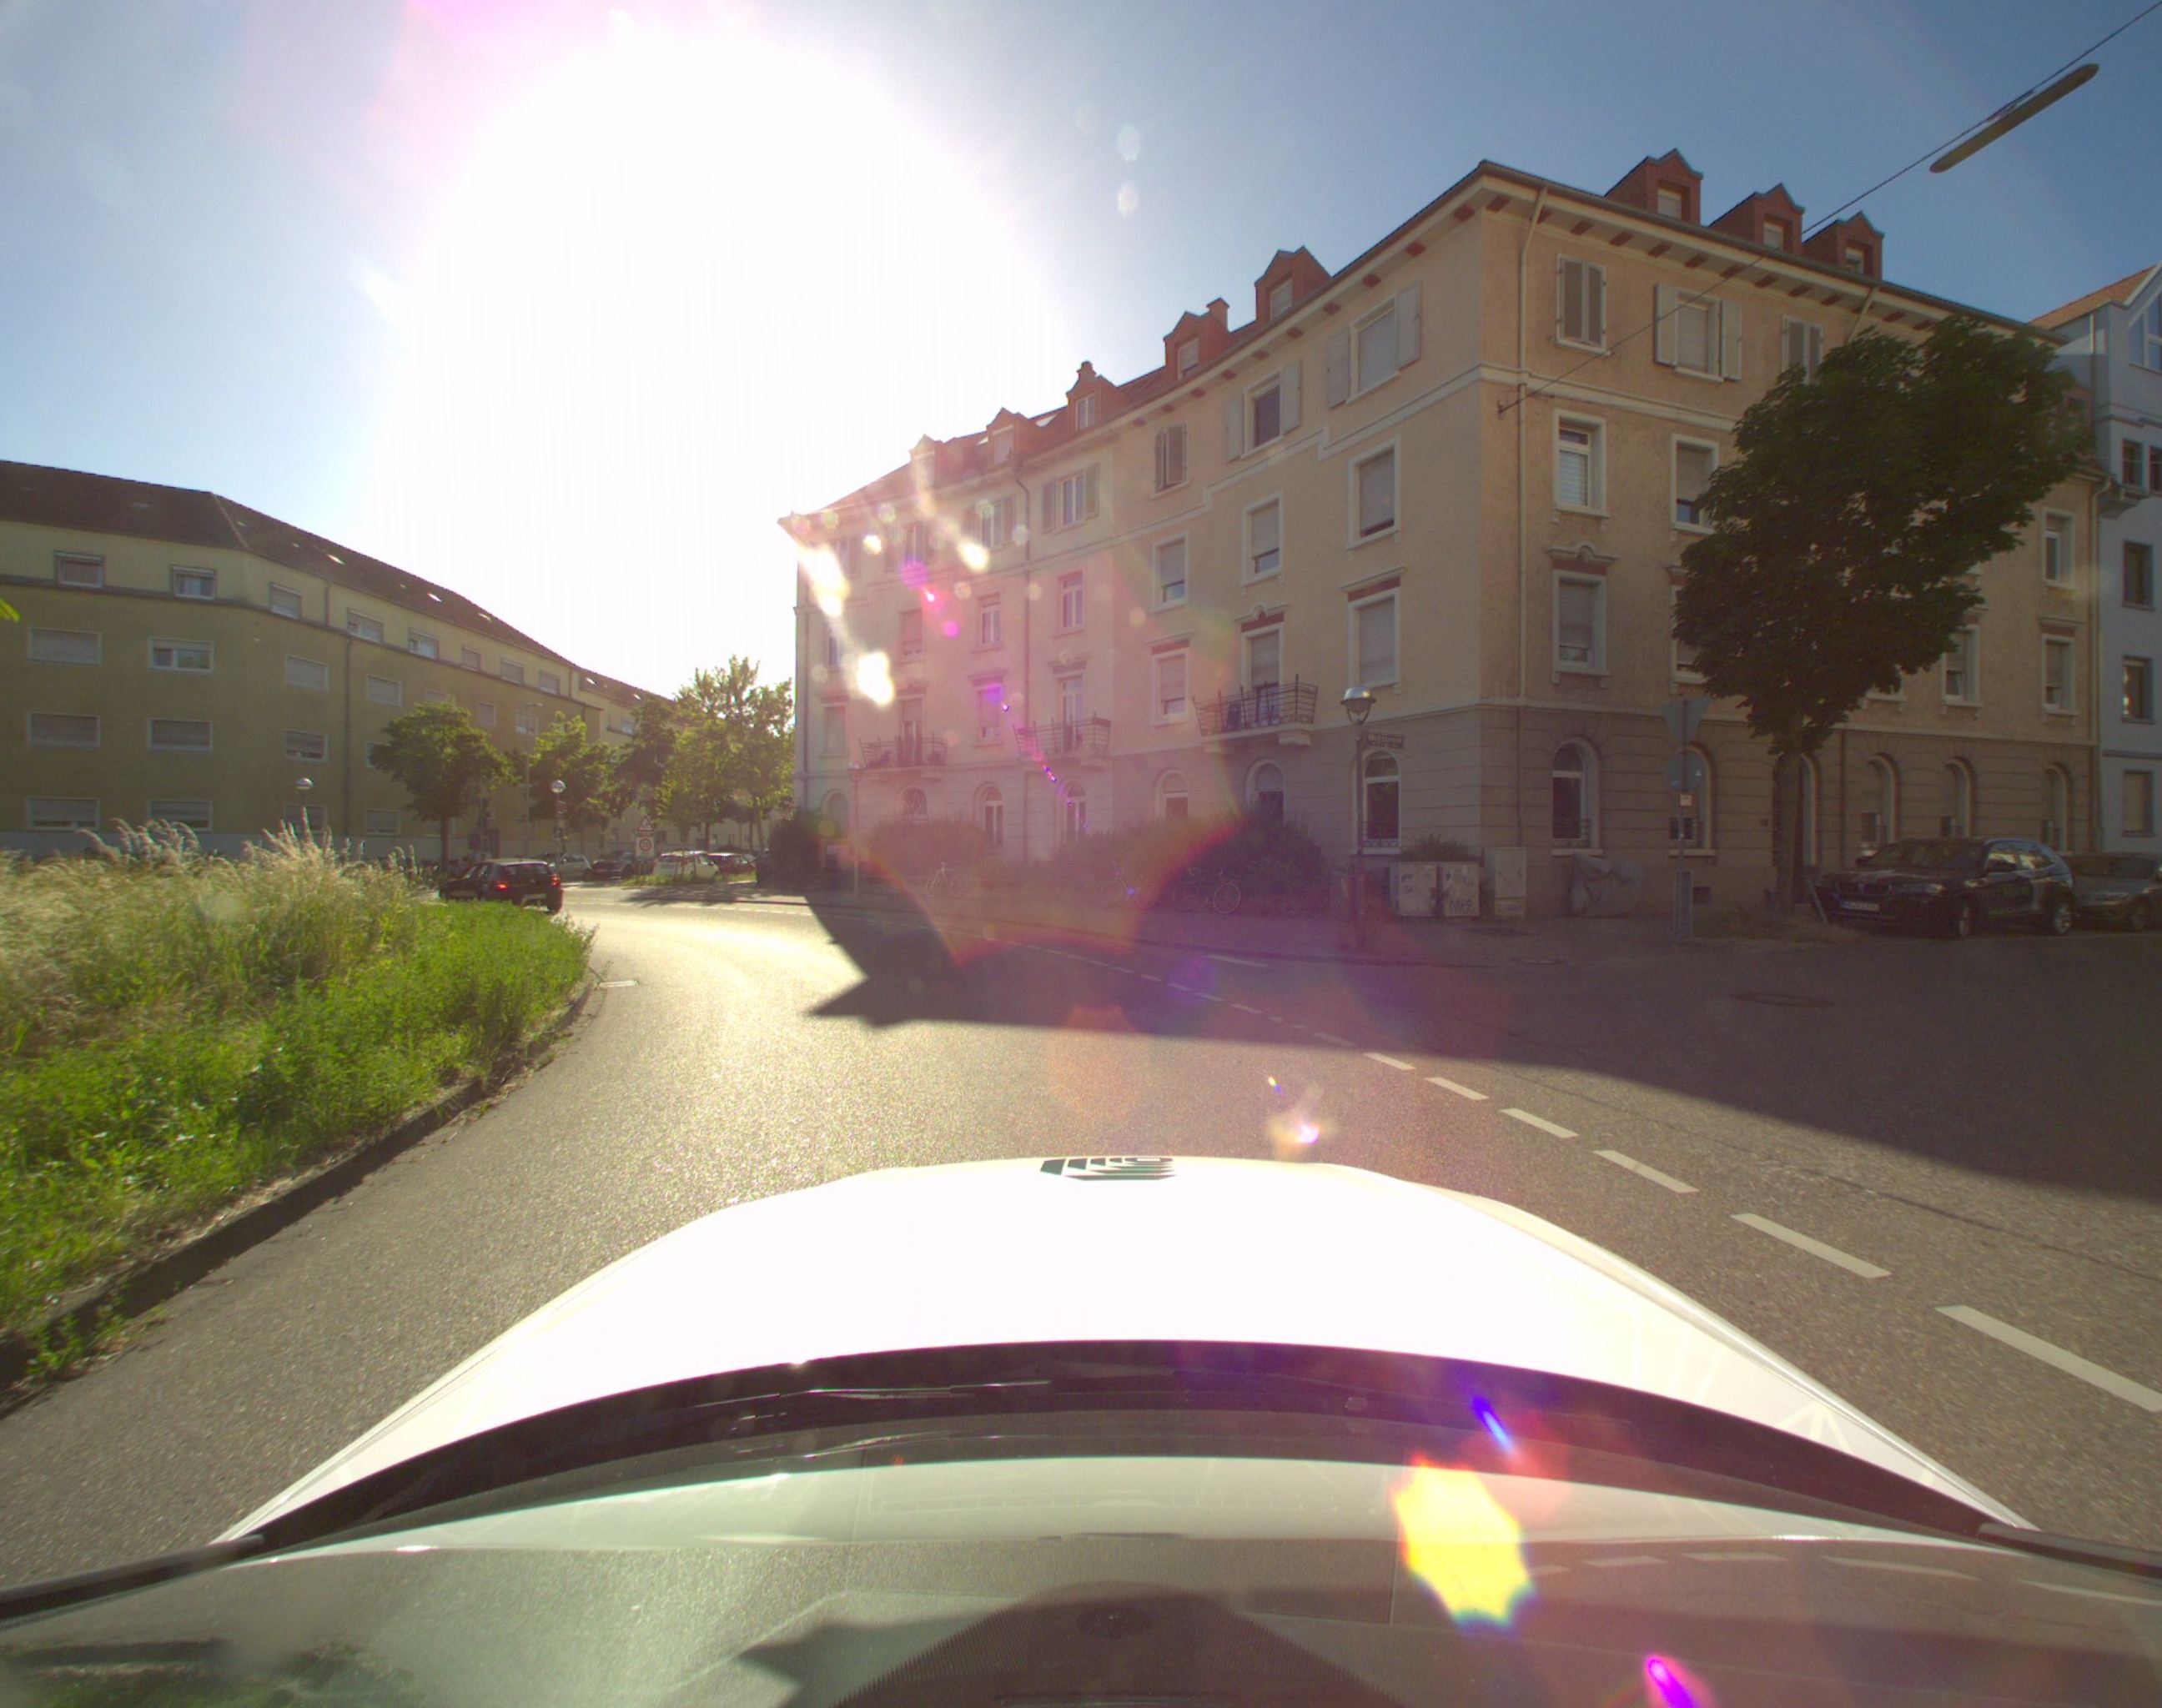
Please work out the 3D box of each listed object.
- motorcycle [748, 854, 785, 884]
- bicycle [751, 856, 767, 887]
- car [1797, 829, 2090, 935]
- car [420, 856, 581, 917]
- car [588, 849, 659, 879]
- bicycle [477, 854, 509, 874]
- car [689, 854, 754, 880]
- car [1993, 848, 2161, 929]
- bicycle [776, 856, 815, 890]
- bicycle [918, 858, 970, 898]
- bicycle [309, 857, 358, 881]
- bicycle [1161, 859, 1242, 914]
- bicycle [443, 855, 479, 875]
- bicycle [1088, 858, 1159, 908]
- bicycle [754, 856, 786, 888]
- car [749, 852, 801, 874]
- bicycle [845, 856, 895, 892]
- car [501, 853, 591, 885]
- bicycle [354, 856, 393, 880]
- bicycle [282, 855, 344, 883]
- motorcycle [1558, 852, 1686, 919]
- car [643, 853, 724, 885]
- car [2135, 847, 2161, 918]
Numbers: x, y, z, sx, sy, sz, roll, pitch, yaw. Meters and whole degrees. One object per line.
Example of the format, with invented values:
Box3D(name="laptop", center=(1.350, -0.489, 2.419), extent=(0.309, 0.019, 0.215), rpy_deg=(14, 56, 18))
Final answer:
Box3D(name="motorcycle", center=(-13.109, 0.607, 34.017), extent=(0.882, 1.191, 1.491), rpy_deg=(-2, 1, 2))
Box3D(name="bicycle", center=(-12.327, 0.646, 31.231), extent=(0.500, 1.107, 1.937), rpy_deg=(-1, 1, -20))
Box3D(name="car", center=(14.948, 0.435, 14.144), extent=(4.346, 1.642, 1.897), rpy_deg=(0, 0, -19))
Box3D(name="car", center=(-15.185, 0.780, 21.272), extent=(3.949, 1.419, 1.882), rpy_deg=(0, 1, 29))
Box3D(name="car", center=(-25.163, 0.521, 44.979), extent=(1.790, 1.576, 3.996), rpy_deg=(-1, 0, -3))
Box3D(name="bicycle", center=(-31.887, 0.525, 44.197), extent=(0.495, 1.026, 1.455), rpy_deg=(0, 0, 12))
Box3D(name="car", center=(-18.751, 0.663, 42.672), extent=(1.789, 1.255, 3.717), rpy_deg=(-1, 0, -1))
Box3D(name="car", center=(19.806, 0.613, 15.597), extent=(3.658, 1.412, 1.693), rpy_deg=(0, 0, -15))
Box3D(name="bicycle", center=(-9.818, 0.636, 27.993), extent=(1.777, 1.107, 0.503), rpy_deg=(0, 1, 43))
Box3D(name="bicycle", center=(-3.877, 0.655, 23.021), extent=(1.665, 1.088, 0.506), rpy_deg=(0, 2, 43))
Box3D(name="bicycle", center=(-32.132, 0.632, 35.022), extent=(0.494, 1.026, 1.459), rpy_deg=(0, 0, 32))
Box3D(name="bicycle", center=(2.547, 0.666, 17.348), extent=(1.665, 1.088, 0.506), rpy_deg=(0, 2, 41))
Box3D(name="bicycle", center=(-31.849, 0.555, 41.850), extent=(0.495, 1.026, 1.455), rpy_deg=(0, 0, 12))
Box3D(name="bicycle", center=(0.963, 0.657, 18.802), extent=(1.665, 1.088, 0.506), rpy_deg=(0, 2, 41))
Box3D(name="bicycle", center=(-11.209, 0.622, 29.288), extent=(0.503, 1.107, 1.779), rpy_deg=(-1, 1, -40))
Box3D(name="car", center=(-18.589, 0.539, 49.605), extent=(1.789, 1.255, 3.717), rpy_deg=(-1, 0, -1))
Box3D(name="bicycle", center=(-6.922, 0.637, 26.817), extent=(0.494, 1.107, 1.693), rpy_deg=(0, 1, 33))
Box3D(name="car", center=(-25.439, 0.680, 38.868), extent=(1.794, 1.411, 3.996), rpy_deg=(-1, 0, -3))
Box3D(name="bicycle", center=(-32.010, 0.622, 36.846), extent=(0.497, 1.026, 1.449), rpy_deg=(0, 0, -1))
Box3D(name="bicycle", center=(-31.872, 0.608, 33.821), extent=(0.494, 1.107, 1.811), rpy_deg=(0, 0, 32))
Box3D(name="motorcycle", center=(10.744, 0.600, 16.188), extent=(2.150, 1.220, 0.938), rpy_deg=(0, 2, -15))
Box3D(name="car", center=(-18.478, 0.659, 38.075), extent=(1.788, 1.413, 4.000), rpy_deg=(0, 0, 0))
Box3D(name="car", center=(24.840, 0.609, 17.254), extent=(3.997, 1.486, 1.693), rpy_deg=(0, 0, -15))
